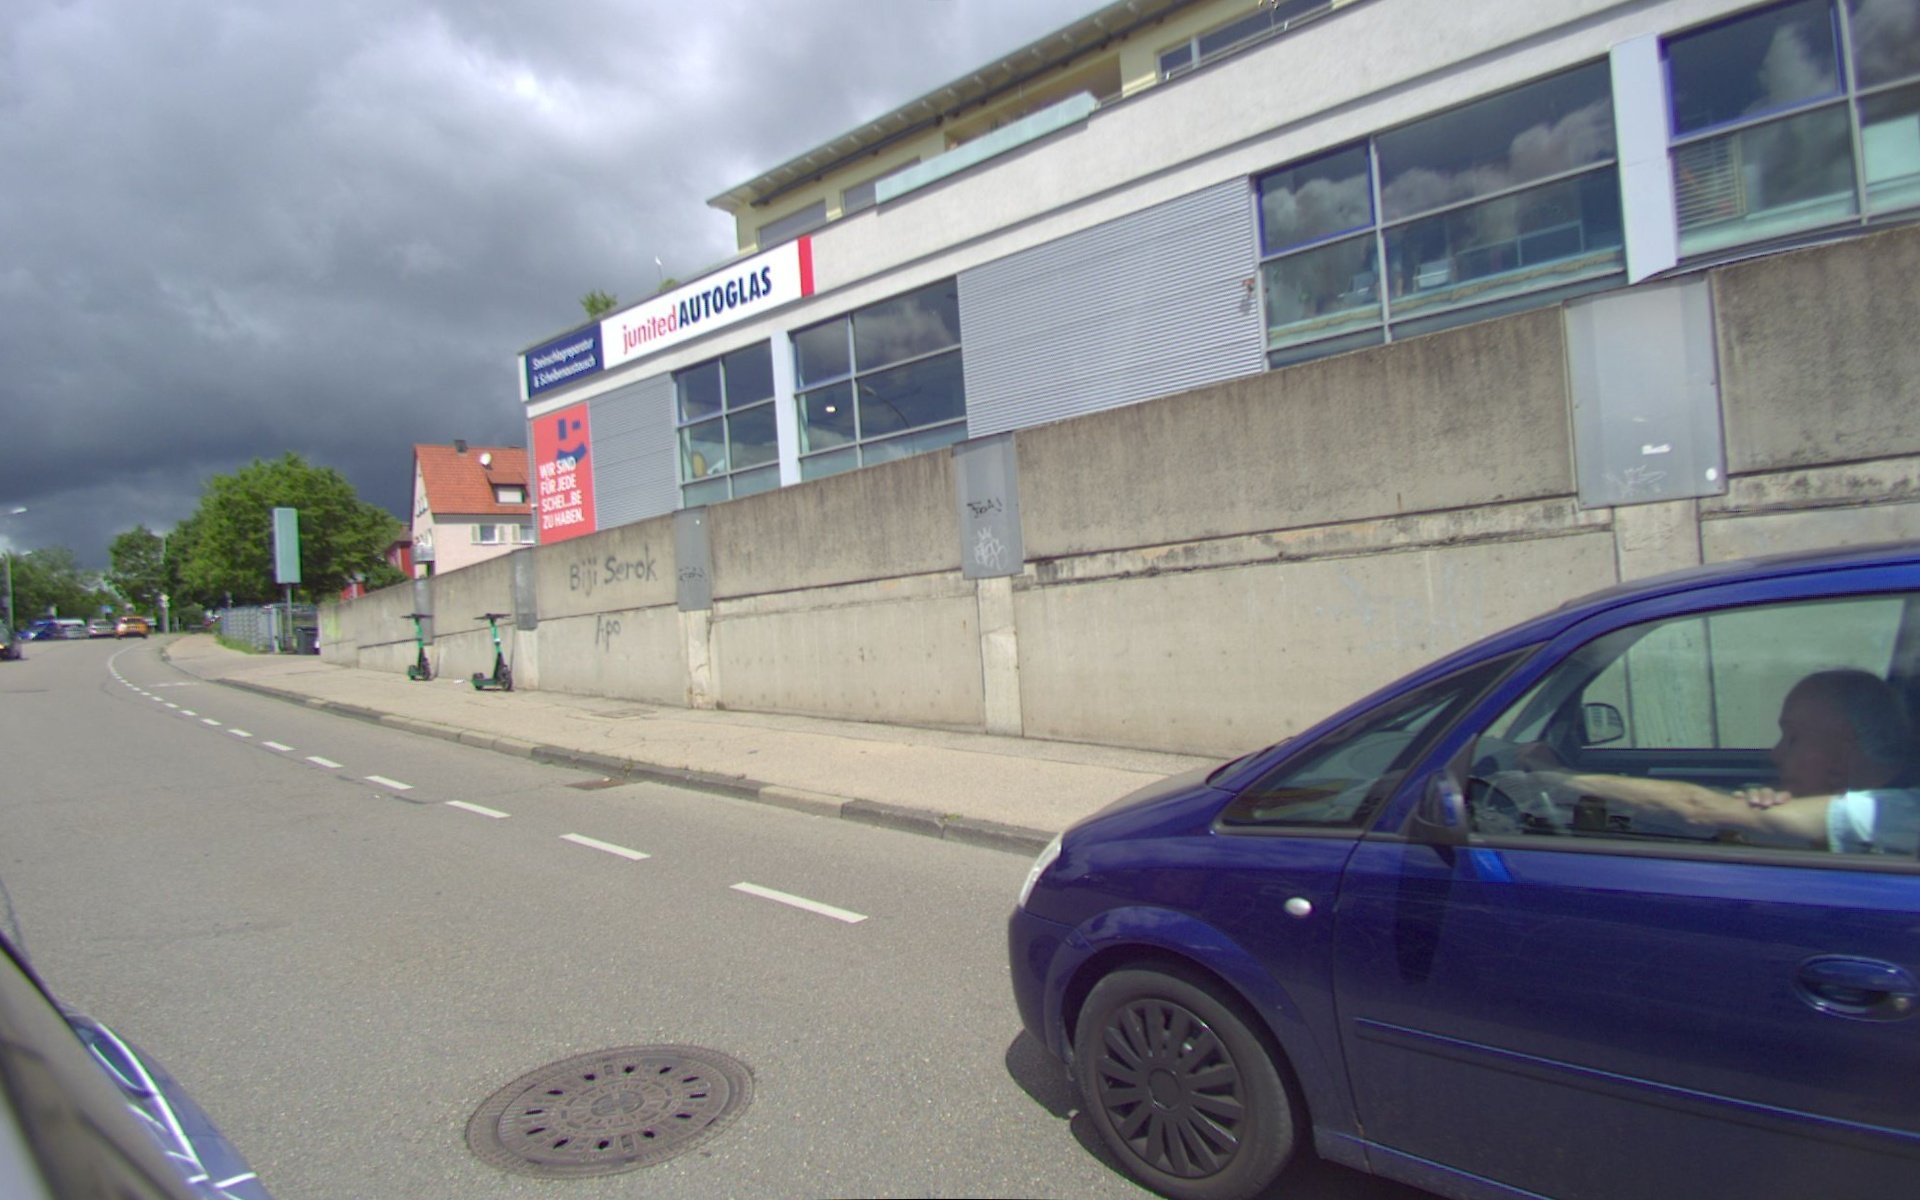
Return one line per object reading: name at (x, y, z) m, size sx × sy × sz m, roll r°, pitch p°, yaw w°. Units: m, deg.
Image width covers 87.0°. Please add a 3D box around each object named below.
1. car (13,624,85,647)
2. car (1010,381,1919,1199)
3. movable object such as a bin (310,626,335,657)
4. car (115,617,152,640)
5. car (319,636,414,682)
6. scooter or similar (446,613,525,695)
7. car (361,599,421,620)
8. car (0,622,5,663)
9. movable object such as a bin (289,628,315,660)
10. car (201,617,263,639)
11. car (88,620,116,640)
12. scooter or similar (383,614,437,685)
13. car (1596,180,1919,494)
car at (-90.337, 3.483, 100.449) m, size 1.940 × 1.984 × 5.115 m, roll -2°, pitch 1°, yaw 10°
car at (2.090, 0.569, 2.133) m, size 3.778 × 1.831 × 1.609 m, roll -1°, pitch -1°, yaw 41°
movable object such as a bin at (-22.530, 1.455, 35.769) m, size 0.654 × 1.089 × 0.517 m, roll 3°, pitch -3°, yaw -42°
car at (-56.929, 1.943, 69.759) m, size 1.579 × 1.501 × 3.692 m, roll -2°, pitch 1°, yaw -34°
car at (-30.637, 3.019, 52.286) m, size 3.937 × 2.029 × 1.855 m, roll -2°, pitch 1°, yaw -39°
scooter or similar at (-7.896, 0.885, 16.824) m, size 1.381 × 1.285 × 0.514 m, roll -2°, pitch 2°, yaw 36°
car at (-45.093, 0.732, 80.194) m, size 3.954 × 1.517 × 1.590 m, roll -2°, pitch 0°, yaw -36°
car at (-37.231, 1.613, 38.285) m, size 1.562 × 1.517 × 3.961 m, roll -2°, pitch 0°, yaw -43°
movable object such as a bin at (-22.998, 1.529, 35.388) m, size 0.654 × 1.089 × 0.517 m, roll 3°, pitch -3°, yaw -42°
car at (-56.583, 2.148, 78.705) m, size 3.796 × 1.517 × 1.590 m, roll -2°, pitch 0°, yaw -36°
car at (-69.555, 2.407, 82.051) m, size 1.622 × 1.544 × 4.229 m, roll -2°, pitch 0°, yaw -39°
scooter or similar at (-10.601, 0.934, 19.483) m, size 0.551 × 1.285 × 1.306 m, roll -2°, pitch 1°, yaw -44°
car at (6.635, -1.729, 6.537) m, size 4.099 × 1.649 × 1.789 m, roll -1°, pitch 1°, yaw 39°
